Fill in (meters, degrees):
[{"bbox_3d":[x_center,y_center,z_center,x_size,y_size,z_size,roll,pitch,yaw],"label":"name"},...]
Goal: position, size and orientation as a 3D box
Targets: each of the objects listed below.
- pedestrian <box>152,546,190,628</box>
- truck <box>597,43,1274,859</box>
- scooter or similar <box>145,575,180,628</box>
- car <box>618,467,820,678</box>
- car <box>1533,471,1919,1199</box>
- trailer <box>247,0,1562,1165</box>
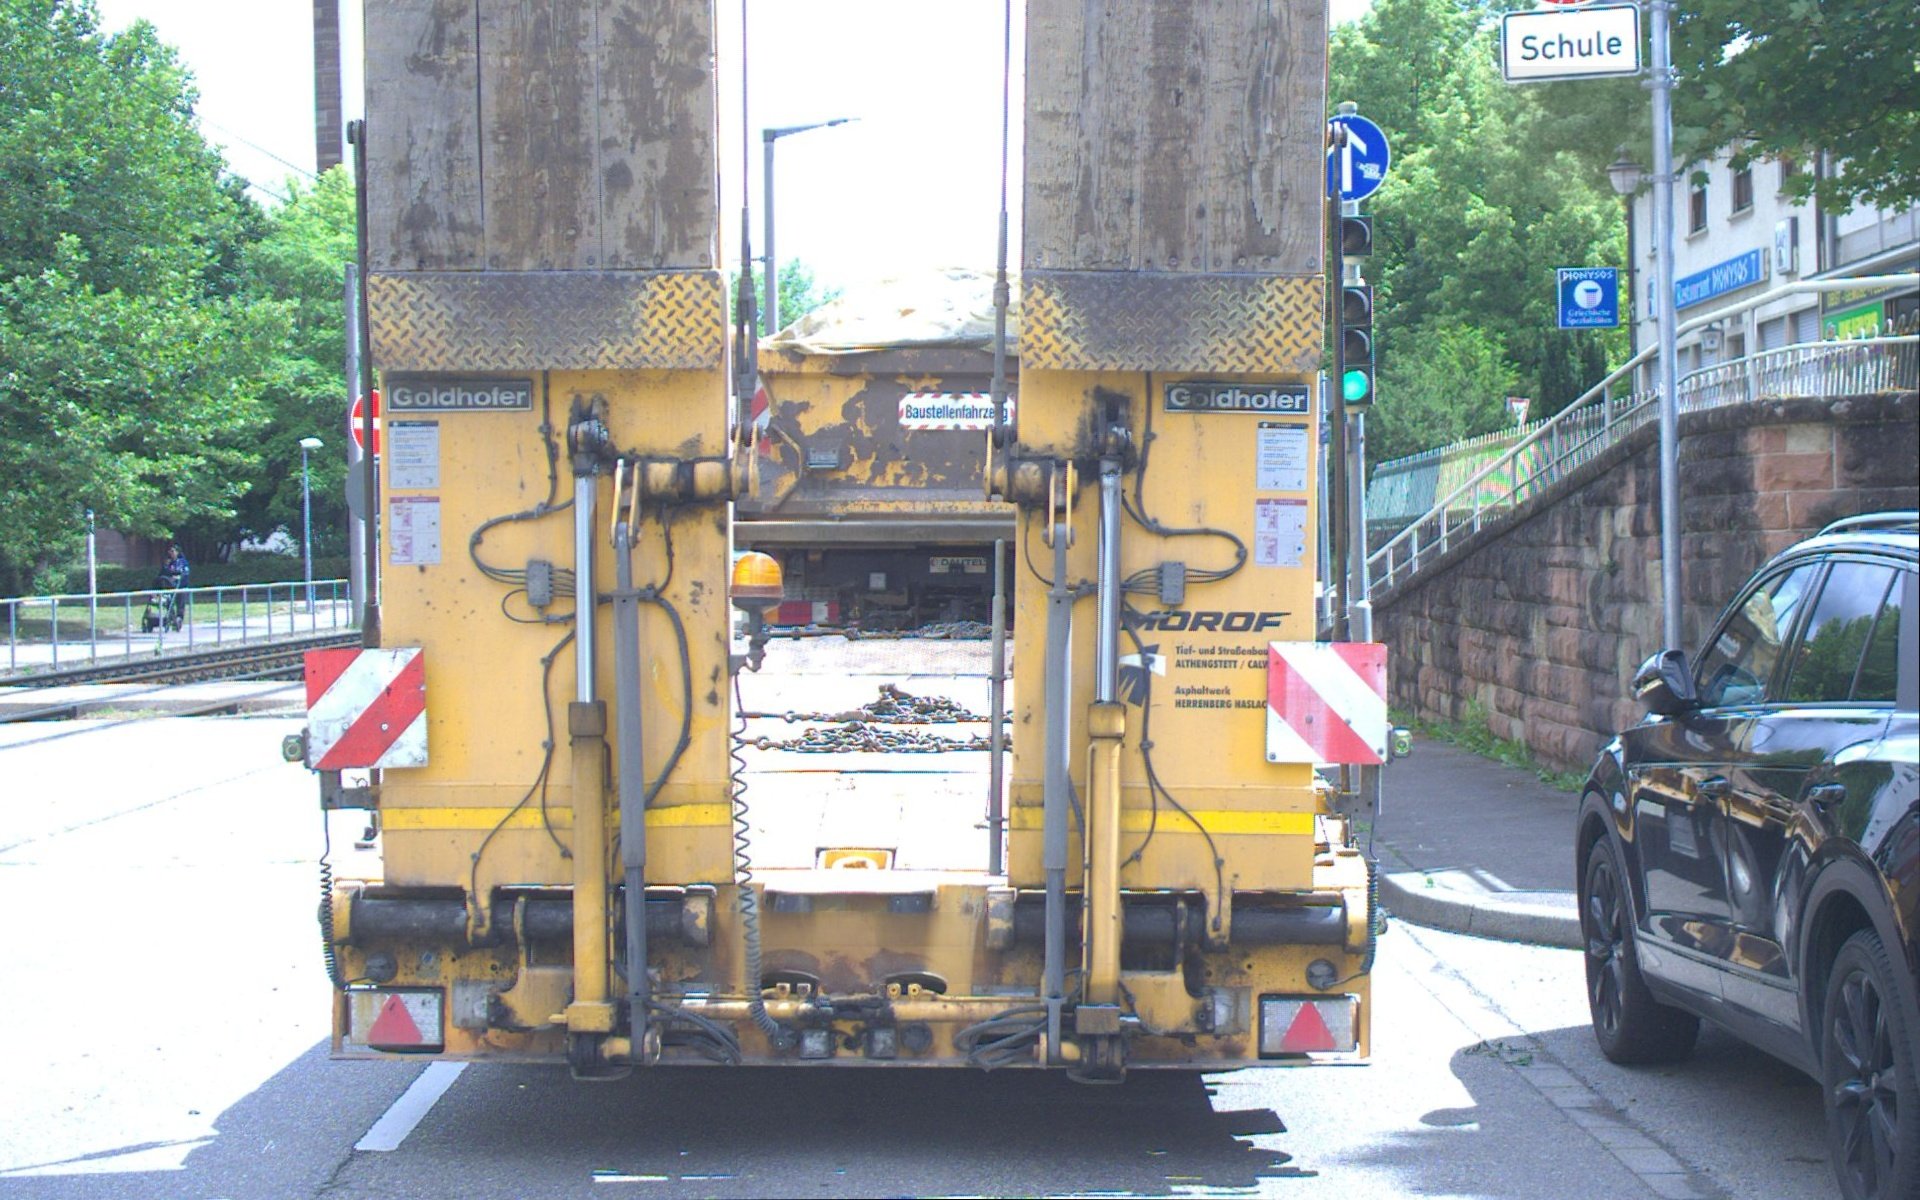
[{"bbox_3d":[-14.855,-0.250,64.735,0.563,1.508,0.646,1,1,-2],"label":"pedestrian"},{"bbox_3d":[-0.102,-0.700,17.633,2.942,3.560,4.877,-1,1,0],"label":"truck"},{"bbox_3d":[-14.867,0.023,64.087,0.505,0.968,0.646,1,1,-2],"label":"scooter or similar"},{"bbox_3d":[-2.841,-0.349,41.695,2.013,2.351,5.383,1,1,0],"label":"car"},{"bbox_3d":[2.706,0.512,8.556,1.851,1.633,4.000,-2,1,0],"label":"car"},{"bbox_3d":[-0.121,-0.607,12.132,2.945,3.589,8.684,-1,1,0],"label":"trailer"}]
